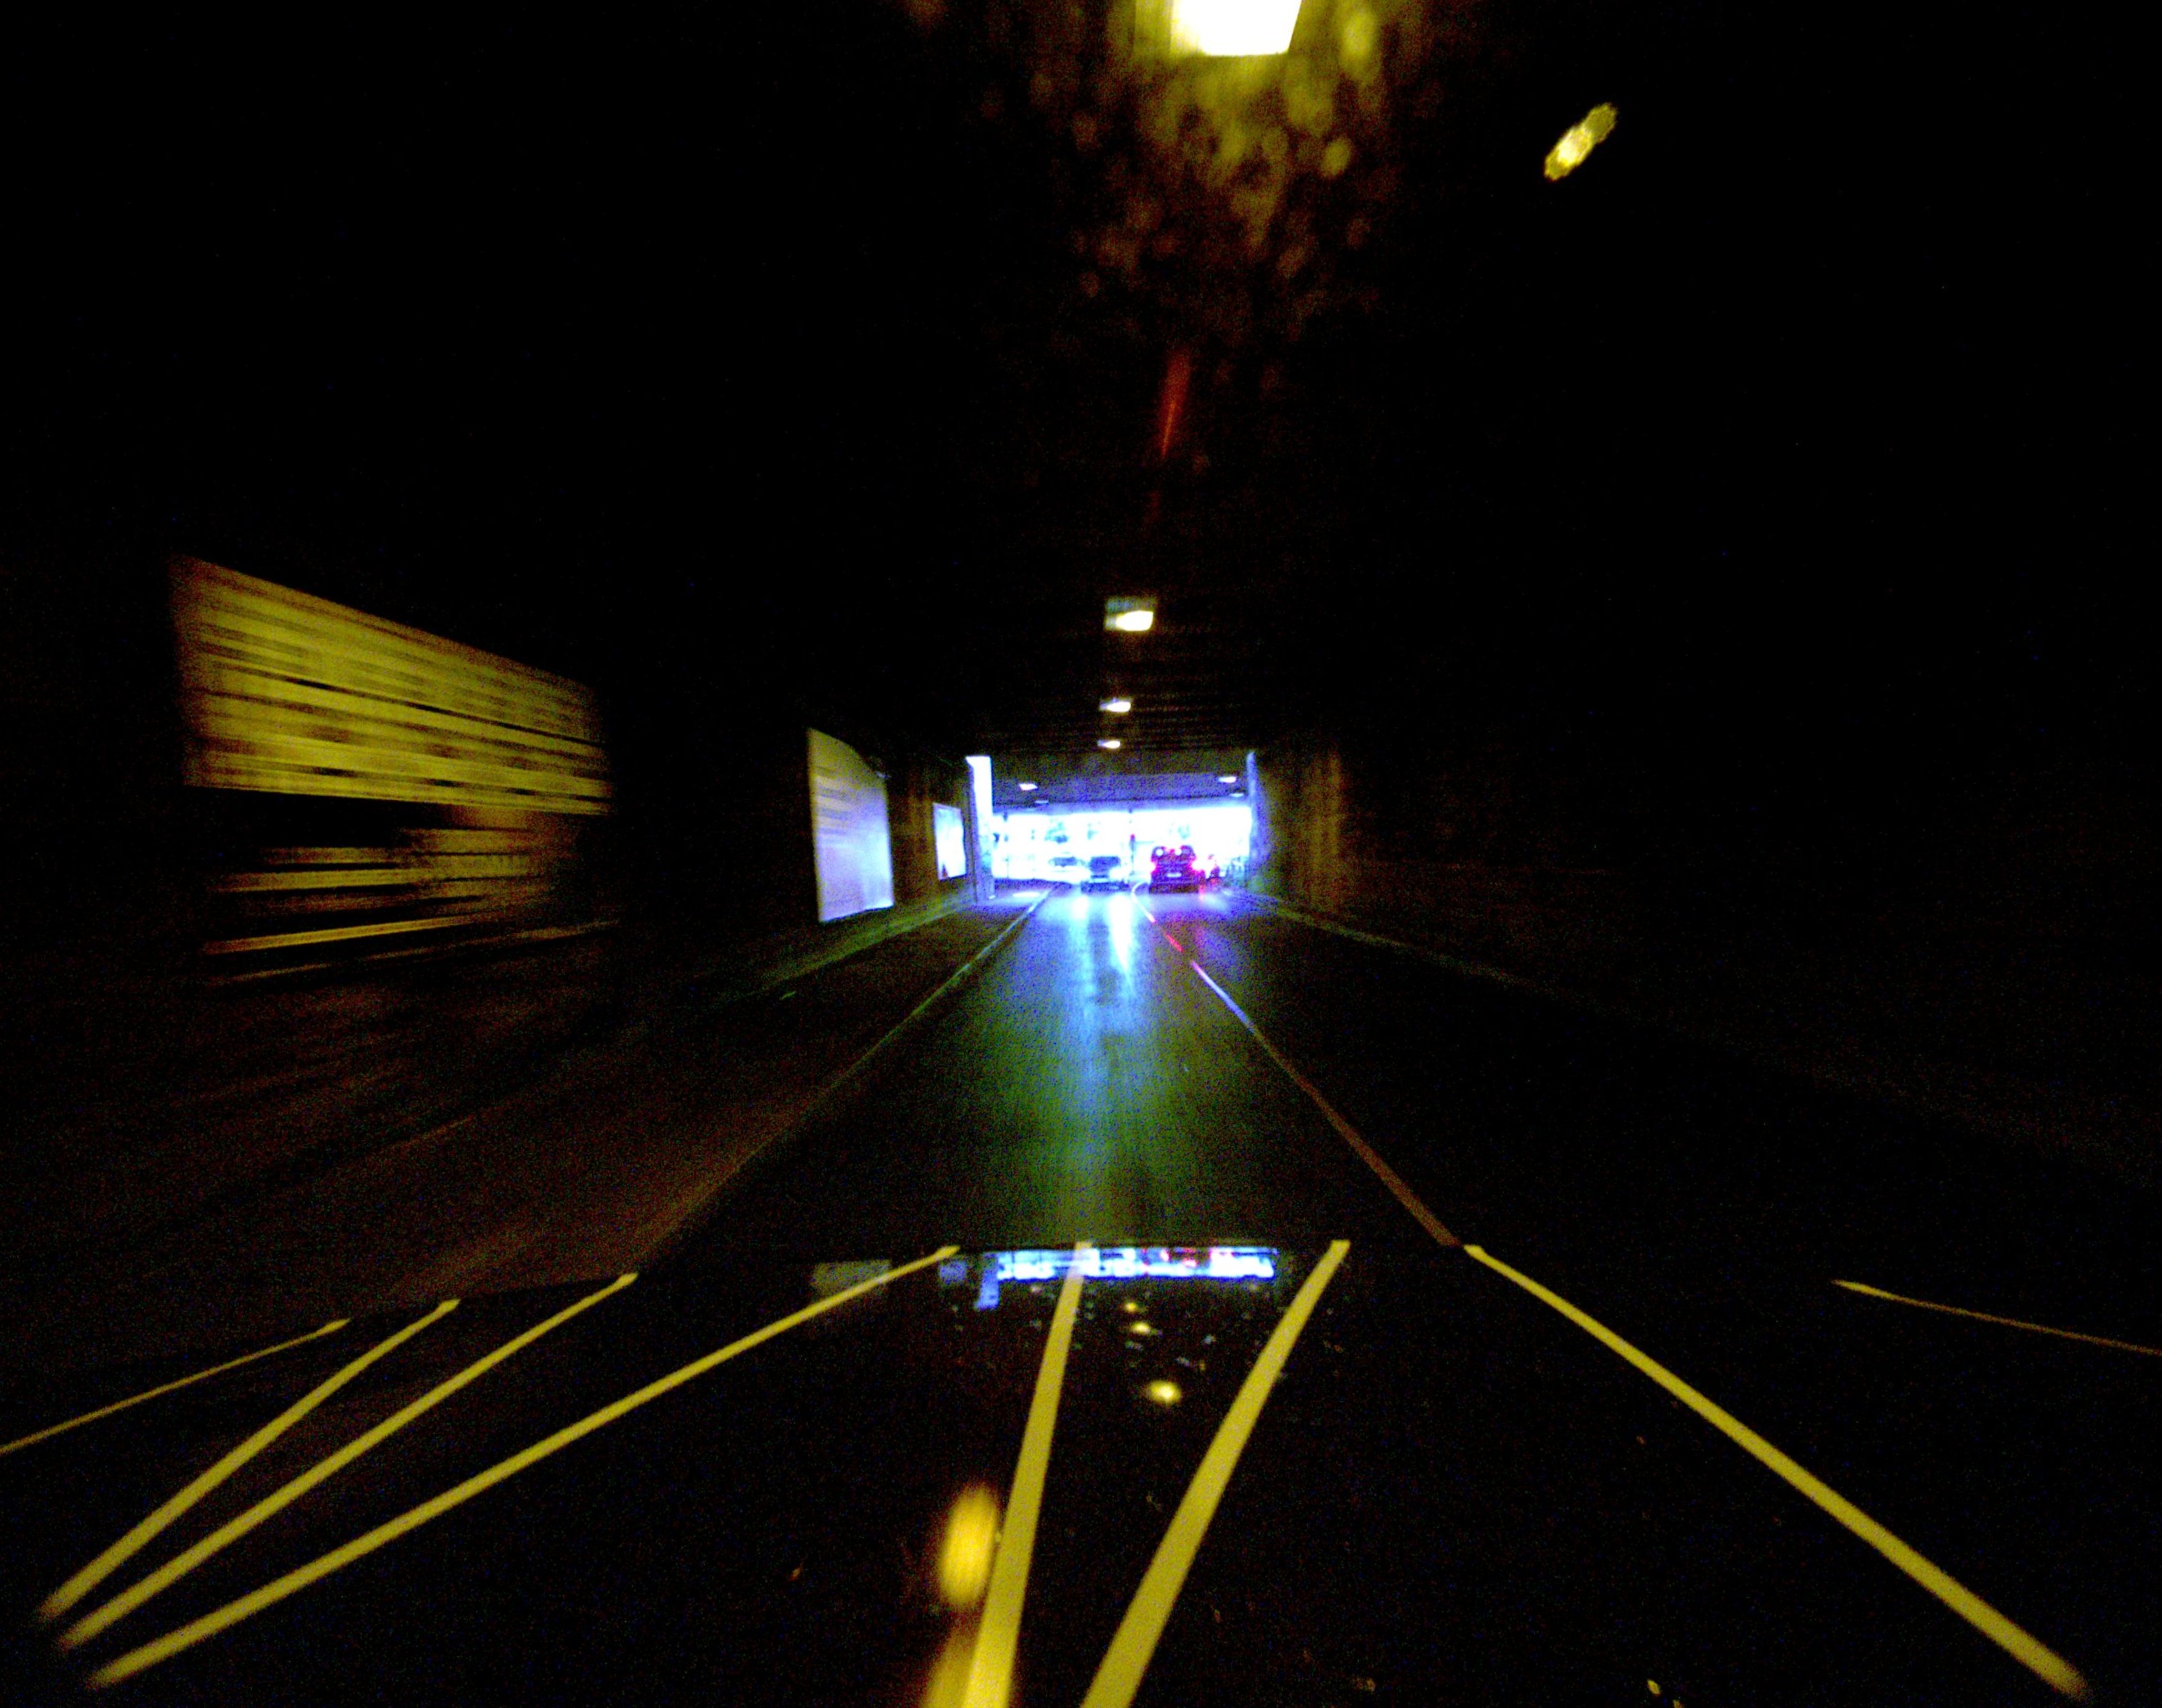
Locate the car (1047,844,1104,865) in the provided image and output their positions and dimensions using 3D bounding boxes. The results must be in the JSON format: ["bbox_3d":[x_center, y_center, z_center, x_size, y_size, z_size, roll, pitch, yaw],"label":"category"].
[{"bbox_3d":[-0.470,0.046,60.943,4.222,1.571,1.772,0,3,31],"label":"car"}]

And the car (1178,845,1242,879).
[{"bbox_3d":[7.311,0.400,42.680,1.996,1.520,4.507,-6,-1,30],"label":"car"}]

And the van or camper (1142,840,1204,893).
[{"bbox_3d":[3.472,0.400,29.519,1.998,1.858,5.139,-1,1,3],"label":"van or camper"}]

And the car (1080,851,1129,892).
[{"bbox_3d":[1.028,0.702,31.136,1.706,1.548,4.002,0,-1,6],"label":"car"}]
